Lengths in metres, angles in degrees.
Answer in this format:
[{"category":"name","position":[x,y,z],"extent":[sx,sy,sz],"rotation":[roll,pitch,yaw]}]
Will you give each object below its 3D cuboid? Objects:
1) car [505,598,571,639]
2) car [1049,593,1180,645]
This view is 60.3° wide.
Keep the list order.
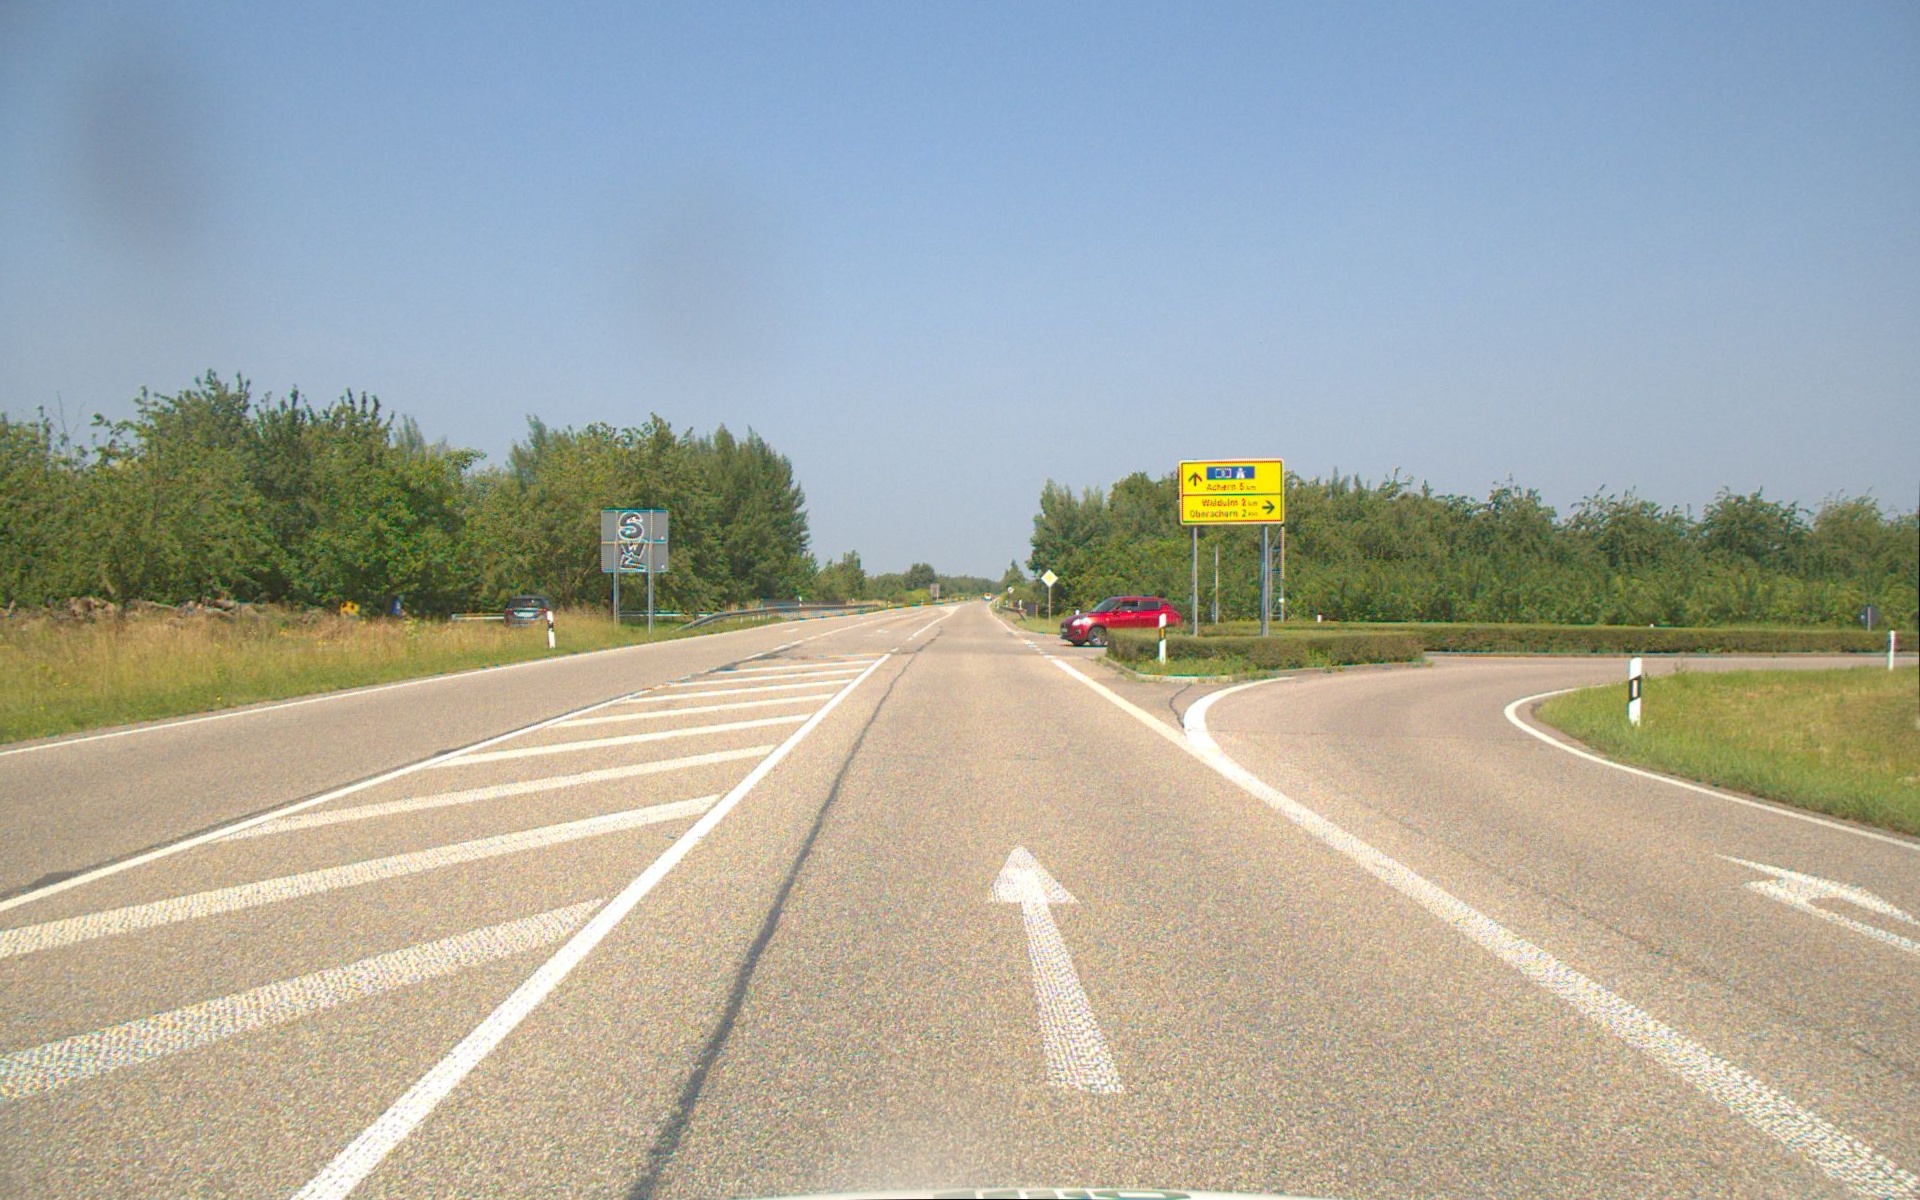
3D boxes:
[{"category":"car","position":[-15.482,0.638,60.802],"extent":[1.671,1.448,4.040],"rotation":[0,0,-4]},{"category":"car","position":[4.790,0.580,51.273],"extent":[3.681,1.519,1.663],"rotation":[1,0,-18]}]
